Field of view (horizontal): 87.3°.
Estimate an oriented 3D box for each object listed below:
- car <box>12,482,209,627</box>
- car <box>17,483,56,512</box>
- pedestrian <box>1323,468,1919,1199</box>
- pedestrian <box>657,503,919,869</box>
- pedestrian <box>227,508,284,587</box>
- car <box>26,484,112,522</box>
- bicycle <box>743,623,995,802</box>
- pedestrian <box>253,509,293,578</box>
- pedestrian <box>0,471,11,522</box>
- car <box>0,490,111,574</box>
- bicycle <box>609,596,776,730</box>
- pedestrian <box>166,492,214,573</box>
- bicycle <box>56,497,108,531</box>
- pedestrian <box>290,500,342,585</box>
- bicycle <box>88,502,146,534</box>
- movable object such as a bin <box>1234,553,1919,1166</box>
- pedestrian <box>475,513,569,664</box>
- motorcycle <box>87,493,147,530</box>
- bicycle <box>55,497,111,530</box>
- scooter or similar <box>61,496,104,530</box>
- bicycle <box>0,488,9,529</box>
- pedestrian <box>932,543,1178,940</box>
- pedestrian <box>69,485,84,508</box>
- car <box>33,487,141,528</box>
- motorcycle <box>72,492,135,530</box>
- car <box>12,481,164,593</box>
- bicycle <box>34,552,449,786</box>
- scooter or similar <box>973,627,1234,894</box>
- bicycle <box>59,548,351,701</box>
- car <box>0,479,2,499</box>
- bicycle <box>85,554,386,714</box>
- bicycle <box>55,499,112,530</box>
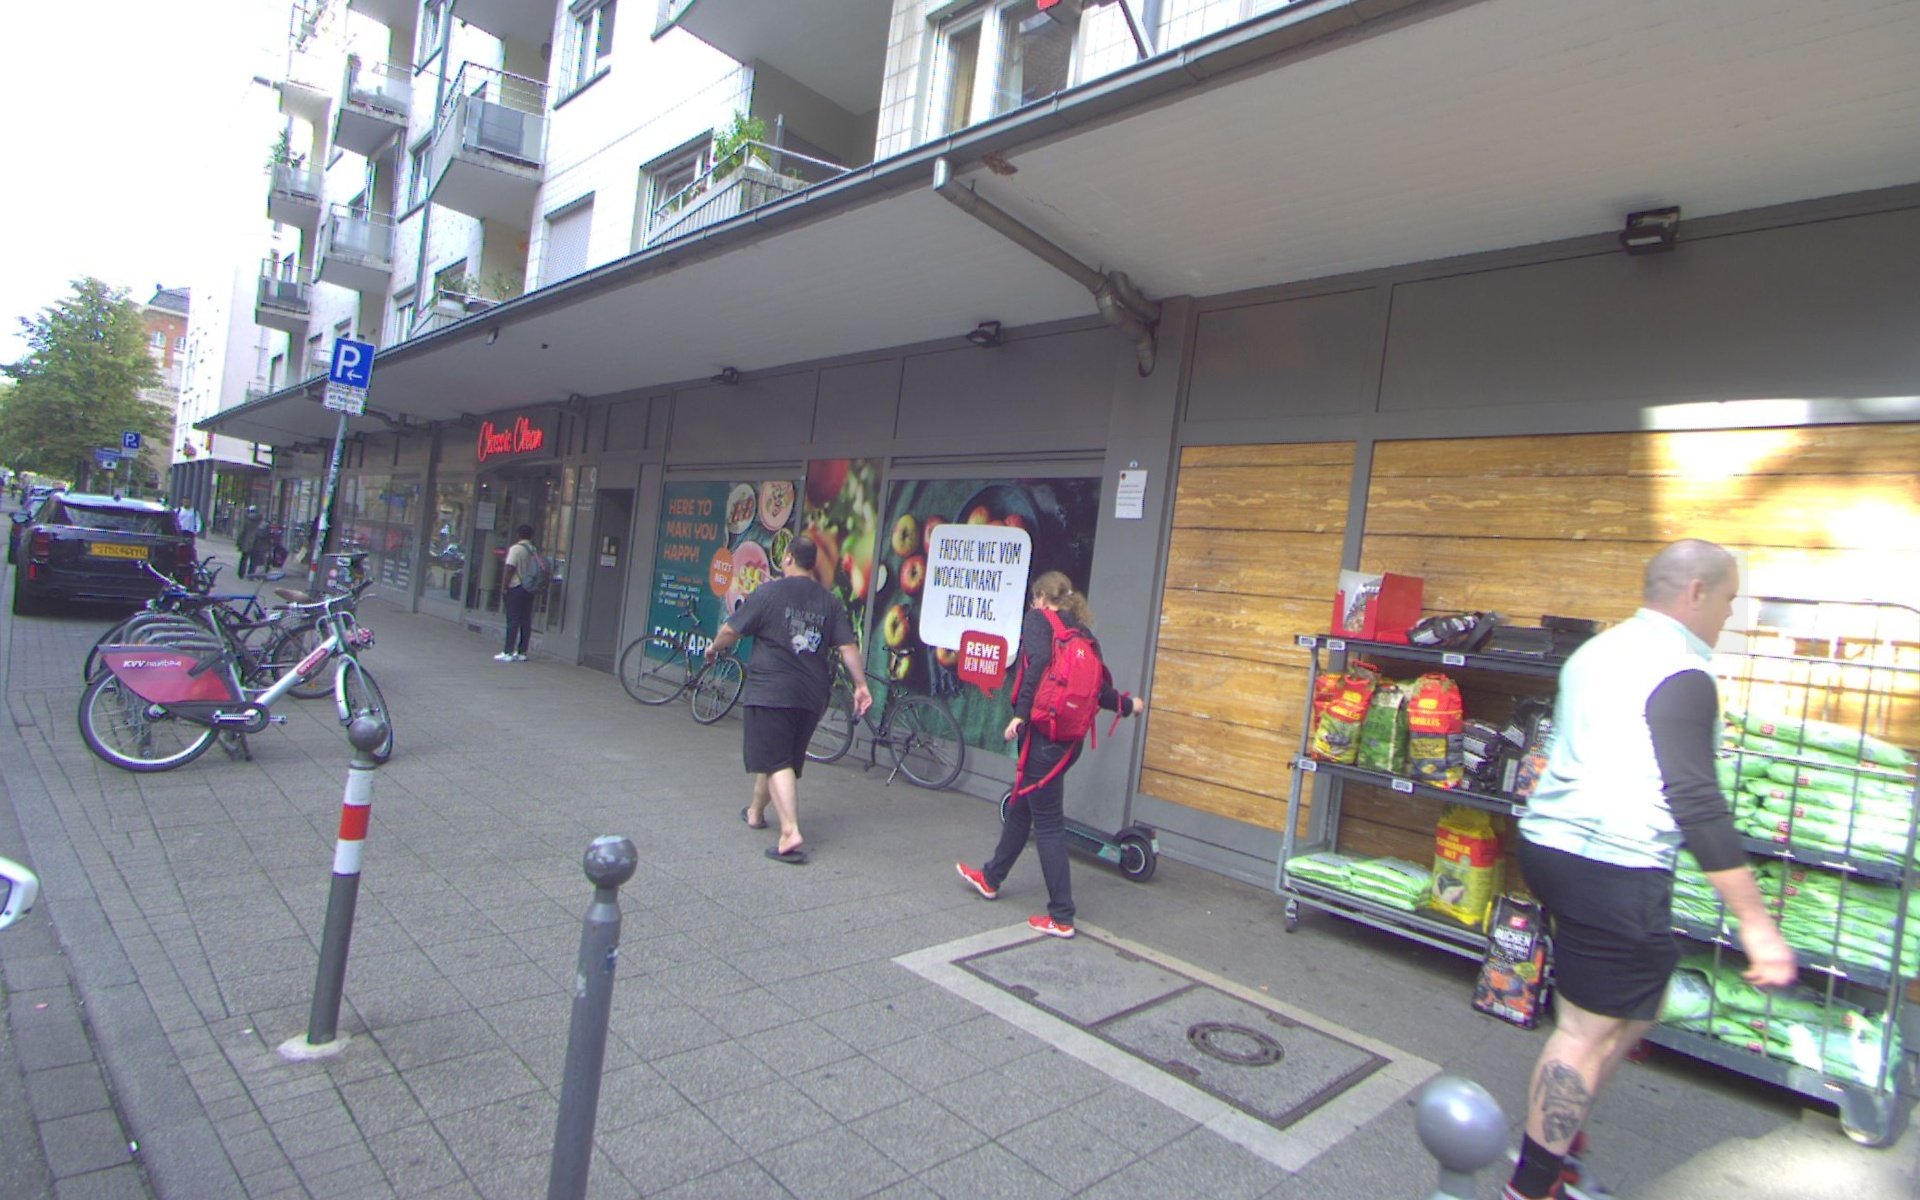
[{"bbox_3d":[-11.665,-0.686,13.784,1.785,1.627,3.876,4,3,-42],"label":"car"},{"bbox_3d":[-66.888,-7.451,72.884,1.925,1.657,3.951,9,-1,-43],"label":"car"},{"bbox_3d":[1.631,0.682,2.621,1.027,1.859,0.886,6,2,15],"label":"pedestrian"},{"bbox_3d":[-0.963,0.412,5.548,1.035,1.770,0.846,8,4,45],"label":"pedestrian"},{"bbox_3d":[-15.468,-1.142,22.077,0.821,1.608,0.771,6,1,-42],"label":"pedestrian"},{"bbox_3d":[-57.400,-6.239,64.889,3.966,1.709,1.715,5,10,-40],"label":"car"},{"bbox_3d":[-0.698,0.799,7.570,1.704,1.056,0.677,6,0,27],"label":"bicycle"},{"bbox_3d":[-16.934,-1.403,24.800,0.641,1.609,0.771,4,3,-42],"label":"pedestrian"},{"bbox_3d":[-32.677,-3.542,33.977,0.716,1.670,0.919,8,0,-42],"label":"pedestrian"},{"bbox_3d":[-19.438,-1.497,21.643,1.589,1.457,3.982,6,1,-42],"label":"car"},{"bbox_3d":[-2.607,0.570,9.681,0.738,1.028,1.761,3,3,-43],"label":"bicycle"},{"bbox_3d":[-17.912,-1.572,23.388,1.110,1.749,0.610,8,4,41],"label":"pedestrian"},{"bbox_3d":[-35.309,-3.461,40.479,0.405,1.161,1.492,8,3,41],"label":"bicycle"},{"bbox_3d":[-15.187,-1.346,23.745,0.698,1.883,0.642,7,1,-15],"label":"pedestrian"},{"bbox_3d":[-34.059,-3.308,40.670,1.757,1.101,0.642,4,3,-41],"label":"bicycle"},{"bbox_3d":[2.500,0.789,4.183,0.777,1.766,2.393,6,1,-43],"label":"movable object such as a bin"},{"bbox_3d":[-5.433,-0.144,12.464,0.806,1.770,0.711,8,4,45],"label":"pedestrian"},{"bbox_3d":[-41.166,-4.324,49.168,2.139,1.551,0.678,4,3,-39],"label":"motorcycle"},{"bbox_3d":[-38.004,-3.744,43.619,1.786,1.175,0.494,4,3,-41],"label":"bicycle"},{"bbox_3d":[-34.007,-3.360,38.996,1.189,1.163,0.377,5,4,-12],"label":"scooter or similar"},{"bbox_3d":[-32.629,-3.138,33.863,0.716,1.289,1.861,8,0,-42],"label":"bicycle"},{"bbox_3d":[0.442,0.607,4.736,0.703,1.655,0.719,8,4,44],"label":"pedestrian"},{"bbox_3d":[-93.109,-10.910,106.042,0.992,2.257,0.887,8,0,-43],"label":"pedestrian"},{"bbox_3d":[-43.428,-4.588,50.095,1.704,1.566,3.757,6,1,36],"label":"car"},{"bbox_3d":[-39.622,-4.111,46.572,2.139,1.454,0.757,5,3,-39],"label":"motorcycle"},{"bbox_3d":[-15.317,-1.139,17.602,1.683,1.597,3.852,6,1,-45],"label":"car"},{"bbox_3d":[-4.270,0.383,6.069,0.895,1.140,1.876,8,3,44],"label":"bicycle"},{"bbox_3d":[0.788,0.840,5.744,1.239,1.229,0.629,8,4,44],"label":"scooter or similar"},{"bbox_3d":[-6.130,0.215,8.266,0.577,1.085,1.786,8,3,36],"label":"bicycle"},{"bbox_3d":[-49.635,-5.354,50.553,1.959,1.761,3.992,8,-1,-43],"label":"car"},{"bbox_3d":[-5.622,0.273,7.915,0.560,1.085,1.786,8,3,36],"label":"bicycle"},{"bbox_3d":[-36.905,-3.600,42.385,1.757,1.114,0.406,4,3,-41],"label":"bicycle"}]
